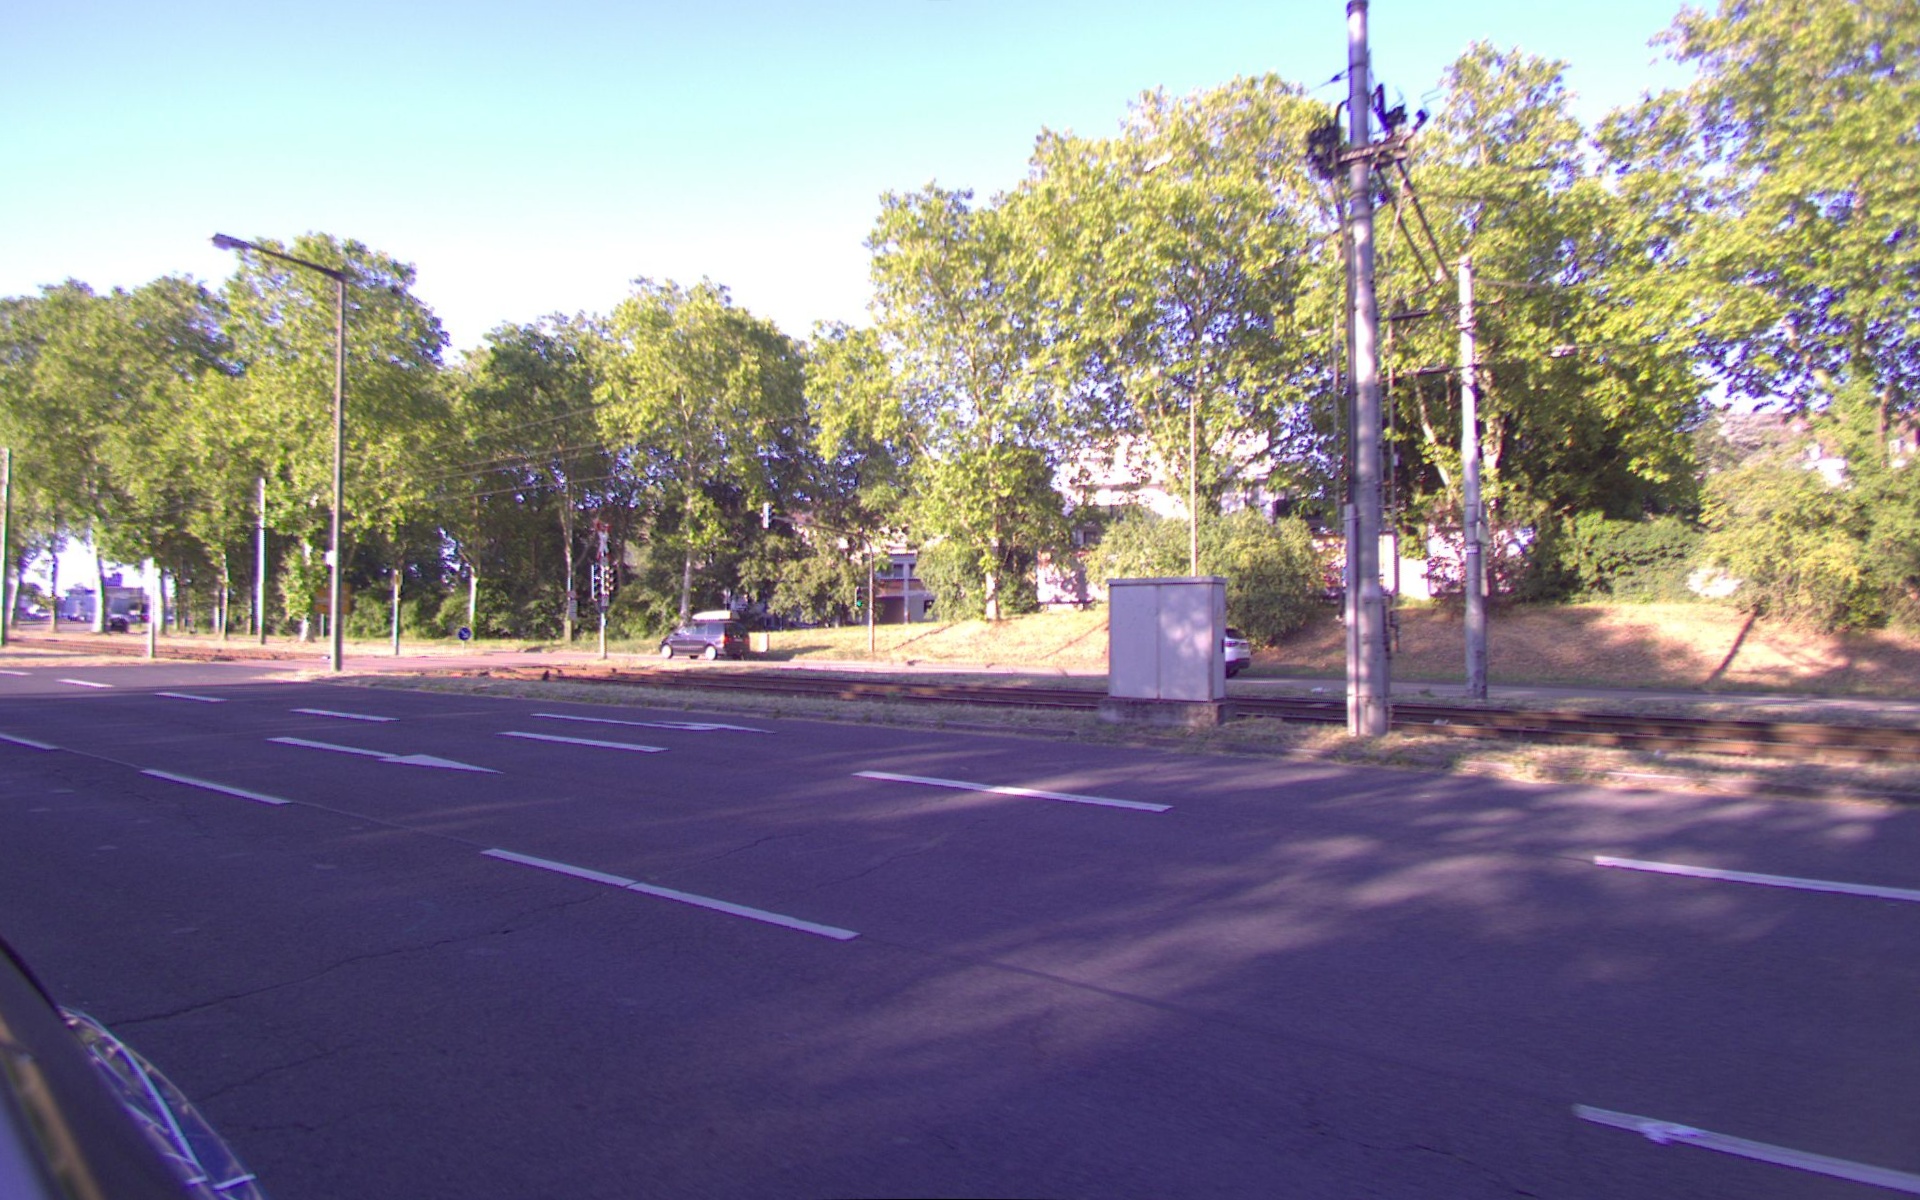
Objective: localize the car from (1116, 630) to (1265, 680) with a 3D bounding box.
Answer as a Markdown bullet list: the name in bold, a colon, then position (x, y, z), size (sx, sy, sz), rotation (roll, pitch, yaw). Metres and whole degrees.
- **car**: position (7.248, 1.700, 31.915), size (4.182, 1.452, 1.976), rotation (-1, -3, 36)

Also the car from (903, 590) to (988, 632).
- **car**: position (-0.971, 0.765, 65.300), size (5.622, 2.532, 1.783), rotation (-2, -4, 39)

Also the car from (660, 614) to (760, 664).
- **car**: position (-10.944, 1.706, 44.198), size (4.182, 2.082, 1.976), rotation (-1, -3, 36)

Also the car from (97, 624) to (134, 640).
- **car**: position (-78.701, 2.954, 94.271), size (3.975, 1.453, 1.611), rotation (-1, -4, 35)
